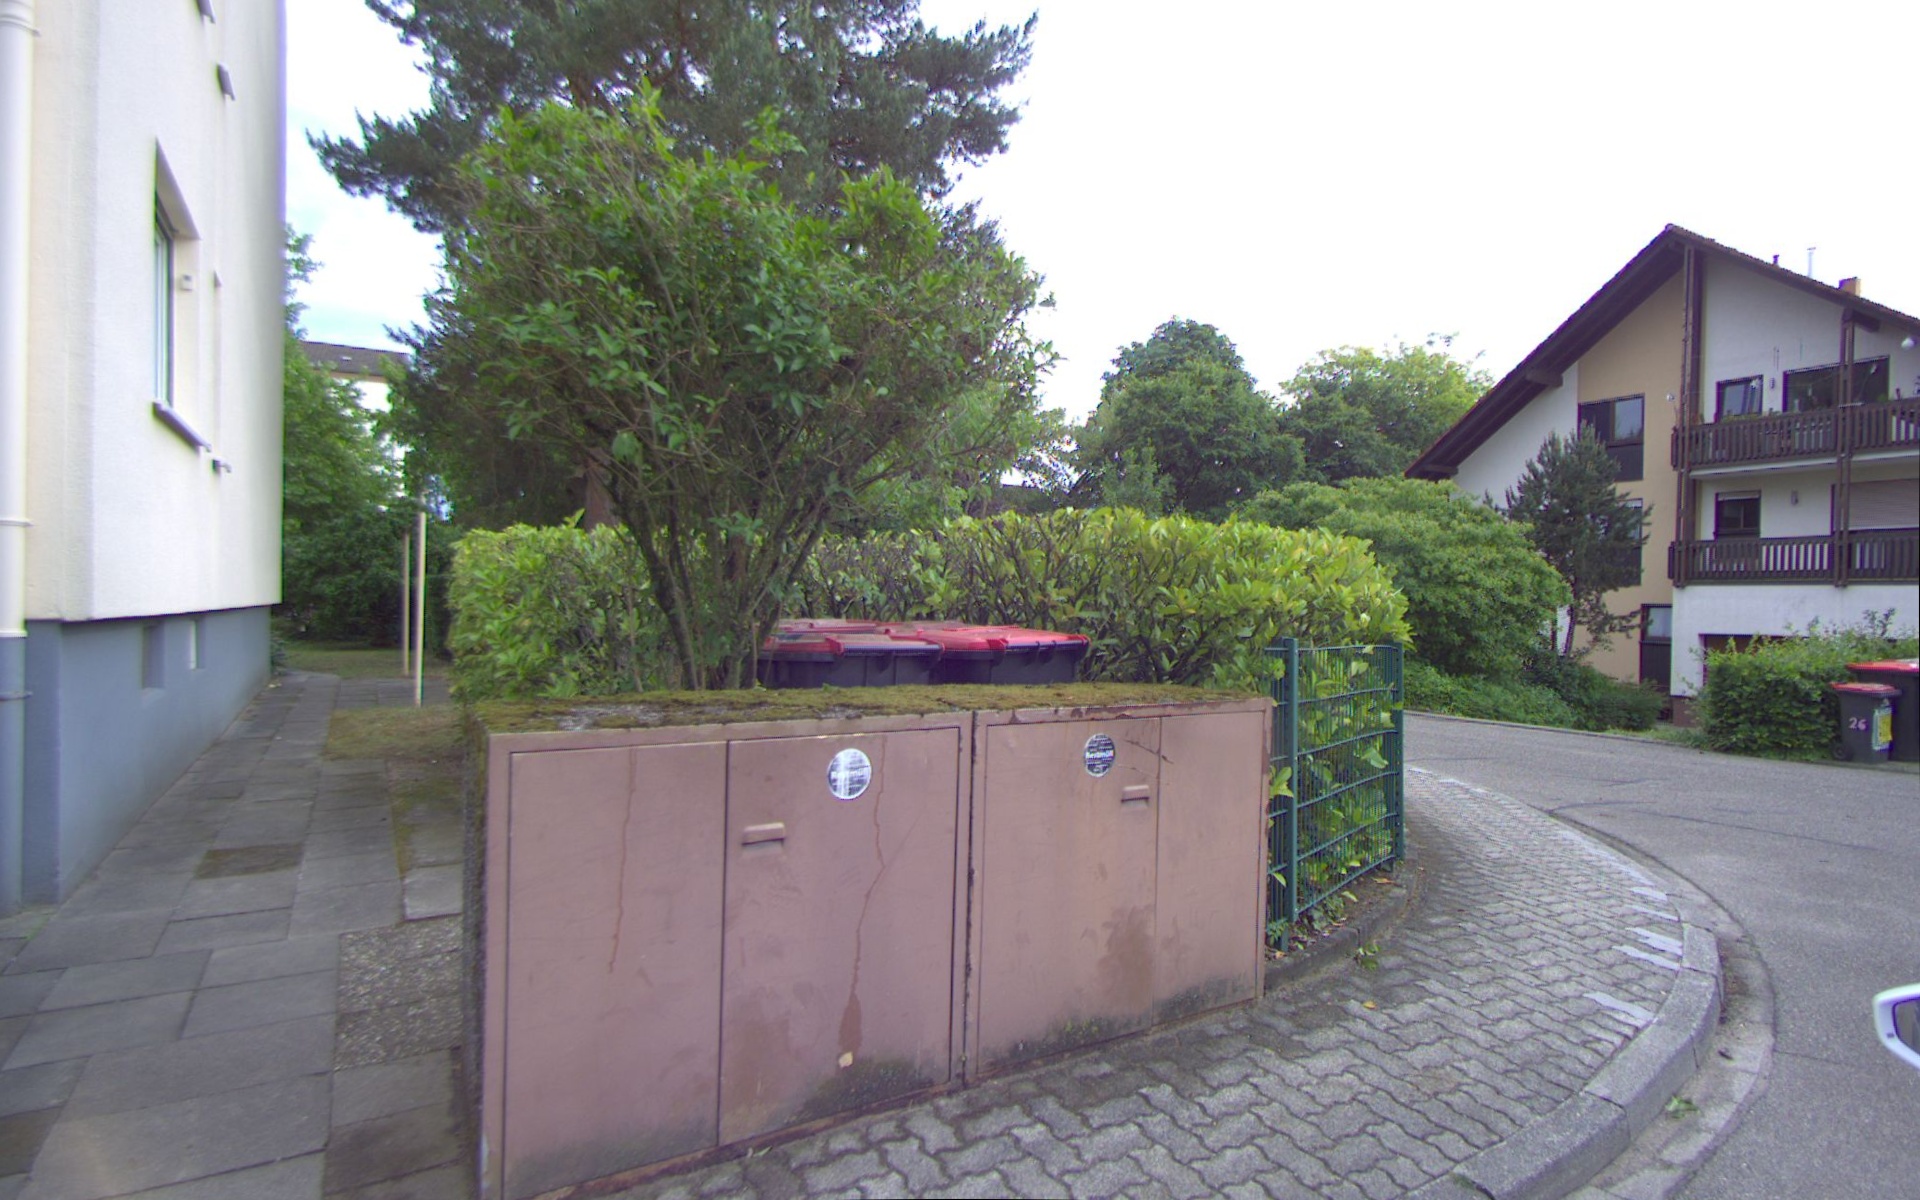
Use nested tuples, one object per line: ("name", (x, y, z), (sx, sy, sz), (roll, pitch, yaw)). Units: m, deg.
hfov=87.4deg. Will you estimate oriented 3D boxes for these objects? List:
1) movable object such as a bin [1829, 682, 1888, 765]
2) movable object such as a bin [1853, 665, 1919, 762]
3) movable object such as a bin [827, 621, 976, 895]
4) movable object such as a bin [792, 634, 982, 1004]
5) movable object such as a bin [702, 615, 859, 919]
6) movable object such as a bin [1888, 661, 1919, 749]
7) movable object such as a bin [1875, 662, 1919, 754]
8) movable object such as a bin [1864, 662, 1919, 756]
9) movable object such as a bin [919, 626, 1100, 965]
("movable object such as a bin", (9.916, 1.356, 11.083), (0.375, 0.848, 0.383), (1, 1, -34))
("movable object such as a bin", (10.365, 1.247, 11.183), (0.375, 1.007, 0.534), (1, 1, -33))
("movable object such as a bin", (-0.277, 0.691, 4.687), (0.510, 1.180, 0.502), (1, -1, -33))
("movable object such as a bin", (-0.271, 0.729, 3.647), (0.510, 1.203, 0.502), (1, -1, -33))
("movable object such as a bin", (-0.780, 0.673, 4.345), (0.510, 1.203, 0.502), (1, -1, -33))
("movable object such as a bin", (11.346, 1.241, 11.828), (0.334, 1.007, 0.534), (1, 1, -33))
("movable object such as a bin", (10.970, 1.242, 11.579), (0.334, 1.007, 0.534), (1, 1, -33))
("movable object such as a bin", (10.667, 1.228, 11.391), (0.334, 1.007, 0.534), (1, 1, -33))
("movable object such as a bin", (0.188, 0.705, 3.936), (0.510, 1.203, 0.502), (1, -1, -33))
